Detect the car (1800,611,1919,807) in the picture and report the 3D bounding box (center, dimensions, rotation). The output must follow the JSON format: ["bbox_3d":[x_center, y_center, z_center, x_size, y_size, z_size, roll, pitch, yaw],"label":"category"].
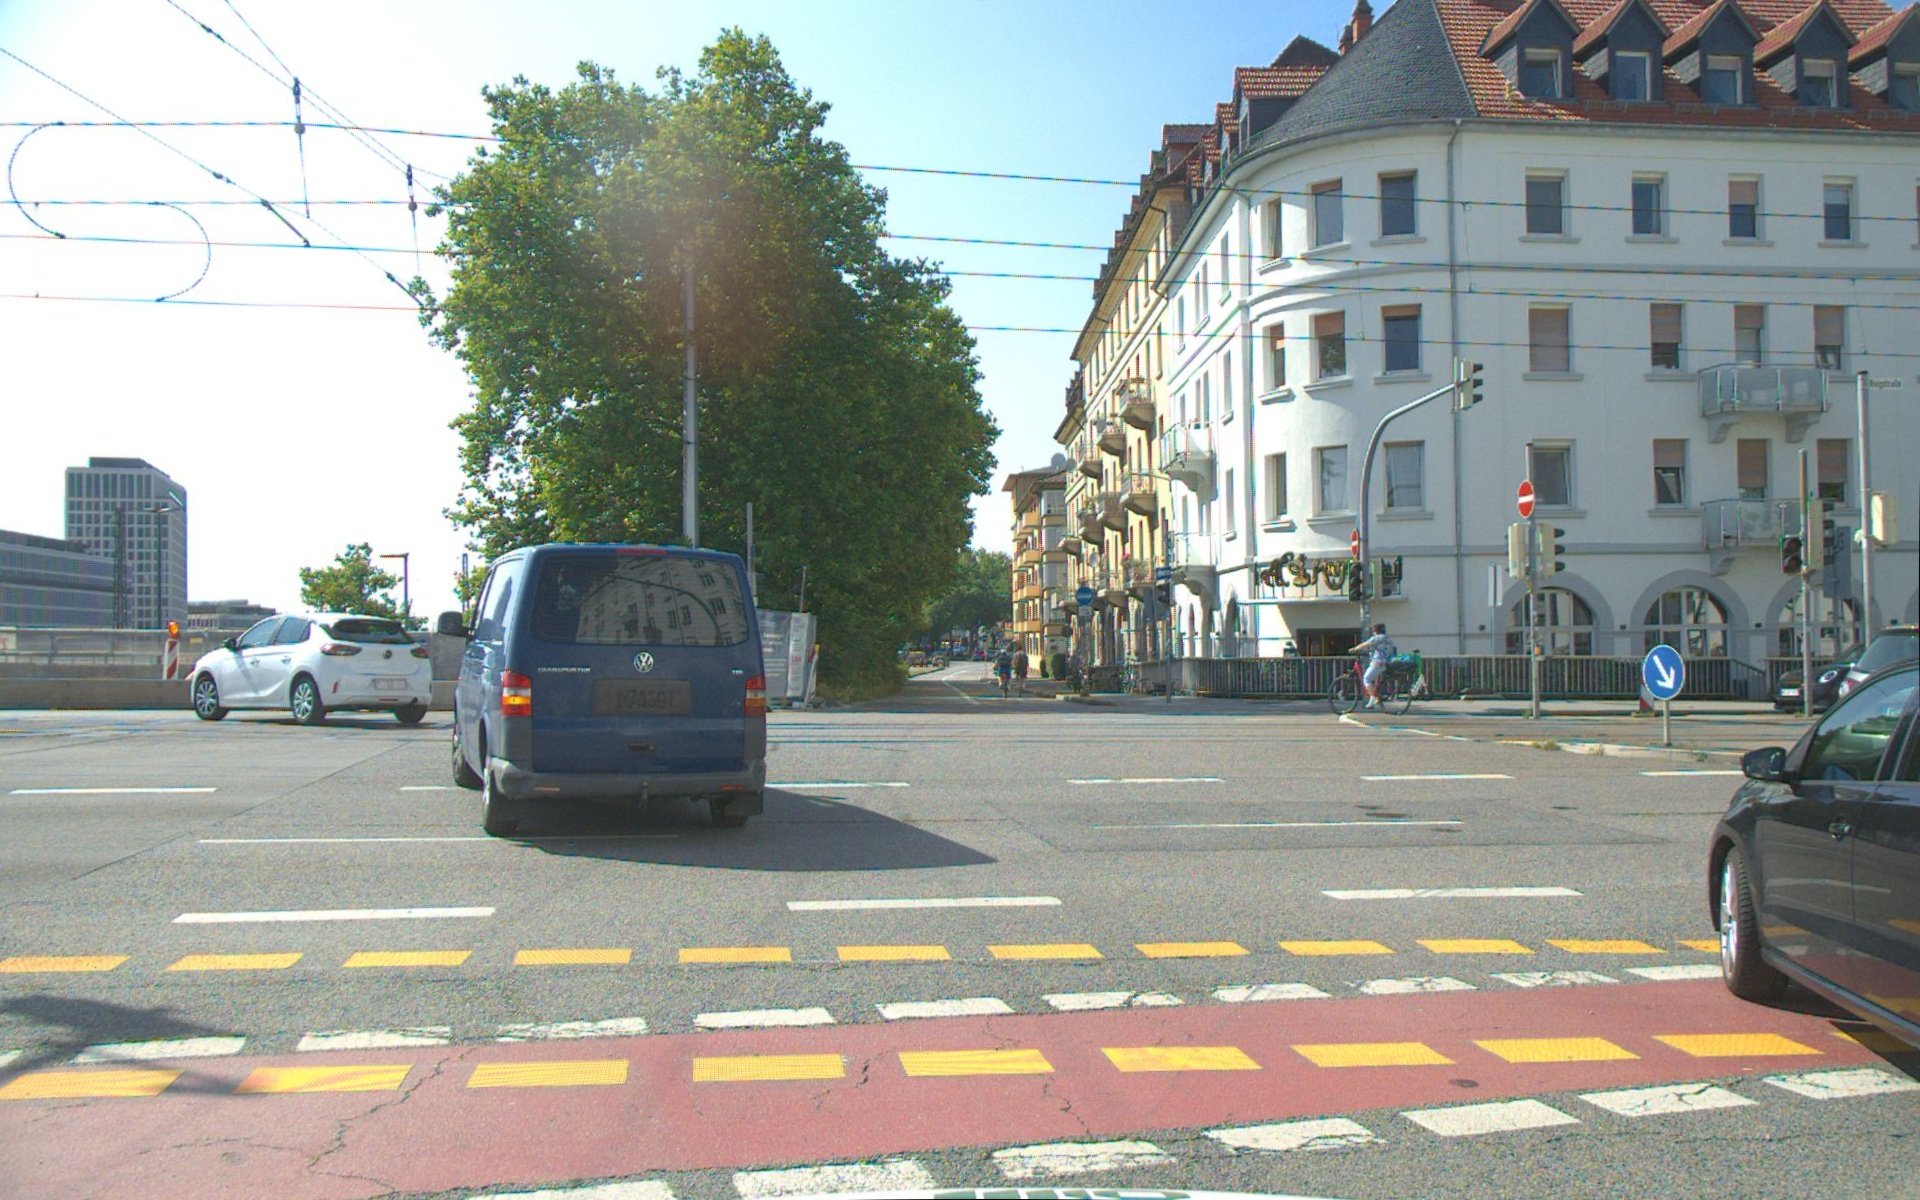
[{"bbox_3d":[9.384,0.932,14.535,3.595,1.583,1.685,1,0,-24],"label":"car"}]

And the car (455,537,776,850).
[{"bbox_3d":[-2.744,0.601,12.459,1.789,1.939,4.029,1,-1,-20],"label":"car"}]

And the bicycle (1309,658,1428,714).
[{"bbox_3d":[7.689,1.615,31.264,0.857,1.007,2.221,2,-3,-32],"label":"bicycle"}]

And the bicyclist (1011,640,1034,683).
[{"bbox_3d":[2.289,2.239,60.150,0.820,1.565,1.024,0,-3,2],"label":"bicyclist"}]

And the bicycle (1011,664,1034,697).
[{"bbox_3d":[2.286,2.921,60.109,0.820,1.157,2.859,0,-2,2],"label":"bicycle"}]

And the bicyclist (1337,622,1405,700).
[{"bbox_3d":[7.749,1.157,31.191,0.857,1.440,0.907,2,-3,-33],"label":"bicyclist"}]

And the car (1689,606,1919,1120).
[{"bbox_3d":[3.726,0.789,5.458,1.555,1.519,3.665,0,-1,10],"label":"car"}]

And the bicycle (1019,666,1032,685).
[{"bbox_3d":[4.018,4.635,101.316,0.820,1.157,2.859,0,-2,2],"label":"bicycle"}]

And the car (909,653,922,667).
[{"bbox_3d":[-5.699,7.620,211.480,1.593,1.651,3.694,0,-1,-1],"label":"car"}]

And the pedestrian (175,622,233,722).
[{"bbox_3d":[-14.114,1.328,30.882,0.854,1.826,0.812,1,-1,-35],"label":"pedestrian"}]

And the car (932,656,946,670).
[{"bbox_3d":[-2.533,7.547,198.871,1.593,1.651,3.694,0,-1,-1],"label":"car"}]

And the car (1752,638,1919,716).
[{"bbox_3d":[16.620,1.389,29.764,3.910,1.344,1.766,0,-3,-6],"label":"car"}]

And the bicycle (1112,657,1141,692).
[{"bbox_3d":[5.703,2.560,56.689,0.820,1.157,2.859,0,-2,2],"label":"bicycle"}]

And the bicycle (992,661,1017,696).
[{"bbox_3d":[1.522,2.673,56.474,0.820,1.157,2.859,0,-2,2],"label":"bicycle"}]

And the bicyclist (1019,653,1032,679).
[{"bbox_3d":[4.020,4.040,101.242,0.820,1.565,1.024,0,-3,2],"label":"bicyclist"}]

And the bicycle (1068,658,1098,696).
[{"bbox_3d":[3.825,2.400,51.713,0.820,1.157,2.859,0,-2,2],"label":"bicycle"}]

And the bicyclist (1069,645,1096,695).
[{"bbox_3d":[3.823,2.178,51.623,0.820,1.534,0.953,0,-3,2],"label":"bicyclist"}]

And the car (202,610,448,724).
[{"bbox_3d":[-8.624,0.909,22.392,3.348,1.430,1.714,-2,-3,40],"label":"car"}]

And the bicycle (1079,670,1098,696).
[{"bbox_3d":[5.494,3.547,70.870,0.666,1.094,2.292,0,-2,1],"label":"bicycle"}]

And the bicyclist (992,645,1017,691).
[{"bbox_3d":[1.532,2.326,56.561,0.820,1.565,1.024,0,-3,2],"label":"bicyclist"}]

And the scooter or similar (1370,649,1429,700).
[{"bbox_3d":[10.024,1.692,37.743,1.272,1.137,0.339,0,-2,12],"label":"scooter or similar"}]

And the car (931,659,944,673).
[{"bbox_3d":[-2.892,8.421,211.784,1.593,1.651,3.694,0,-1,-1],"label":"car"}]

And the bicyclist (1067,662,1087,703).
[{"bbox_3d":[4.662,3.289,65.892,0.693,1.577,0.784,-2,-1,-1],"label":"bicyclist"}]

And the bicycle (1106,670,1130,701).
[{"bbox_3d":[5.727,3.088,60.040,0.666,1.094,2.292,0,-2,1],"label":"bicycle"}]
